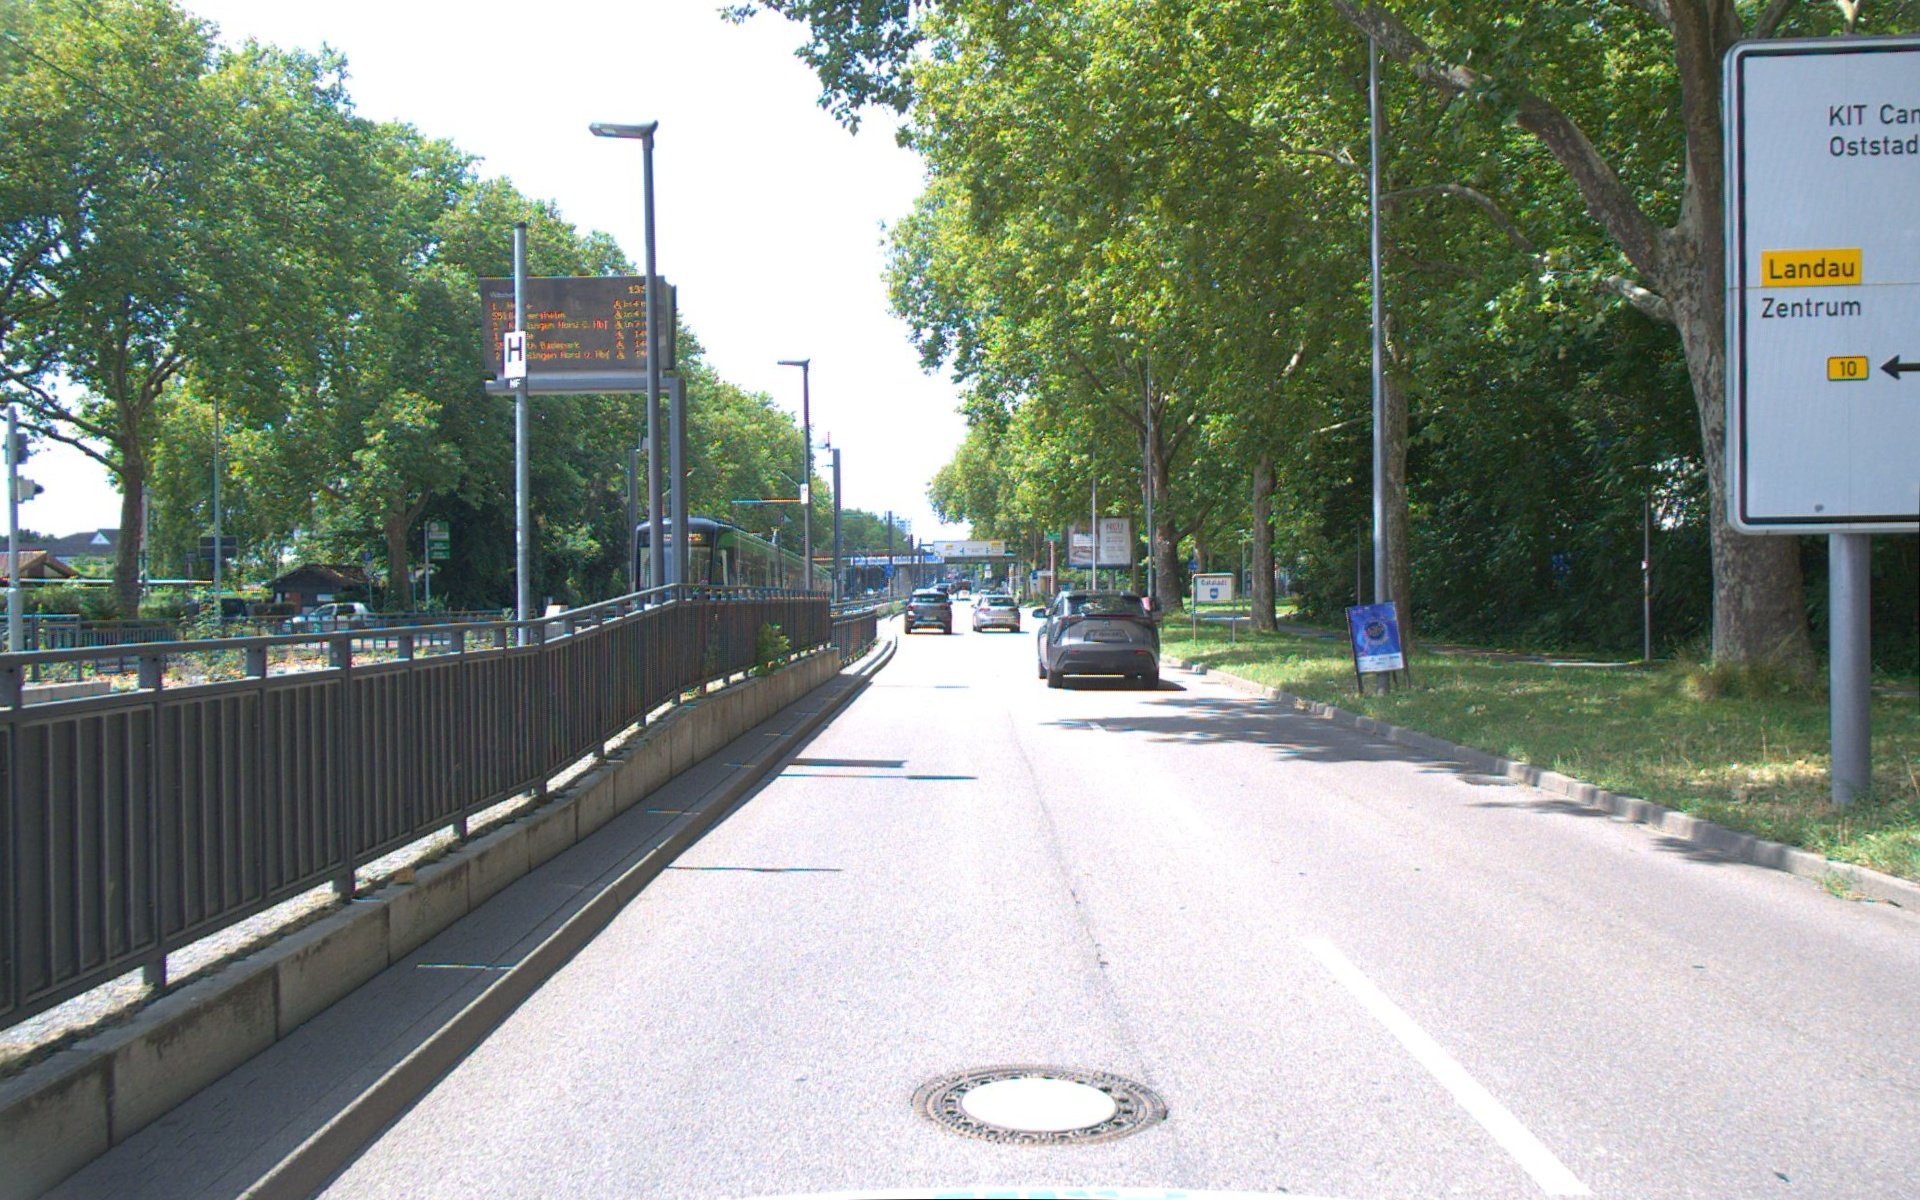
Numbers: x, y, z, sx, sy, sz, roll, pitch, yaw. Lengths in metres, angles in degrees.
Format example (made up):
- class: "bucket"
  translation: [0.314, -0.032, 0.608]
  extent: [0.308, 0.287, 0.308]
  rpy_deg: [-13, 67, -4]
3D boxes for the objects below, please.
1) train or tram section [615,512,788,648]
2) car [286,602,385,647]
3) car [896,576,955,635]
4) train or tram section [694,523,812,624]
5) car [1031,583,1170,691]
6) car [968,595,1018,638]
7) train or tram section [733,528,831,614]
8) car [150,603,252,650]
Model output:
- class: "train or tram section"
  translation: [-6.964, -0.508, 46.880]
  extent: [2.976, 3.242, 14.097]
  rpy_deg: [-1, 0, -1]
- class: "car"
  translation: [-27.978, 1.099, 74.233]
  extent: [3.919, 1.892, 1.993]
  rpy_deg: [0, 1, -14]
- class: "car"
  translation: [-1.249, 0.160, 62.071]
  extent: [1.952, 2.023, 4.365]
  rpy_deg: [0, 2, 2]
- class: "train or tram section"
  translation: [-7.168, -0.876, 58.509]
  extent: [2.975, 3.242, 9.446]
  rpy_deg: [-1, 0, 0]
- class: "car"
  translation: [2.329, 0.562, 28.517]
  extent: [1.859, 1.704, 4.518]
  rpy_deg: [0, 0, -2]
- class: "car"
  translation: [1.282, 0.633, 65.932]
  extent: [1.794, 1.658, 4.295]
  rpy_deg: [0, 0, -1]
- class: "train or tram section"
  translation: [-7.145, -1.131, 67.557]
  extent: [2.975, 3.242, 9.446]
  rpy_deg: [-1, 0, 0]
- class: "car"
  translation: [-33.396, 1.143, 72.875]
  extent: [3.929, 1.892, 1.988]
  rpy_deg: [-1, 1, -21]
